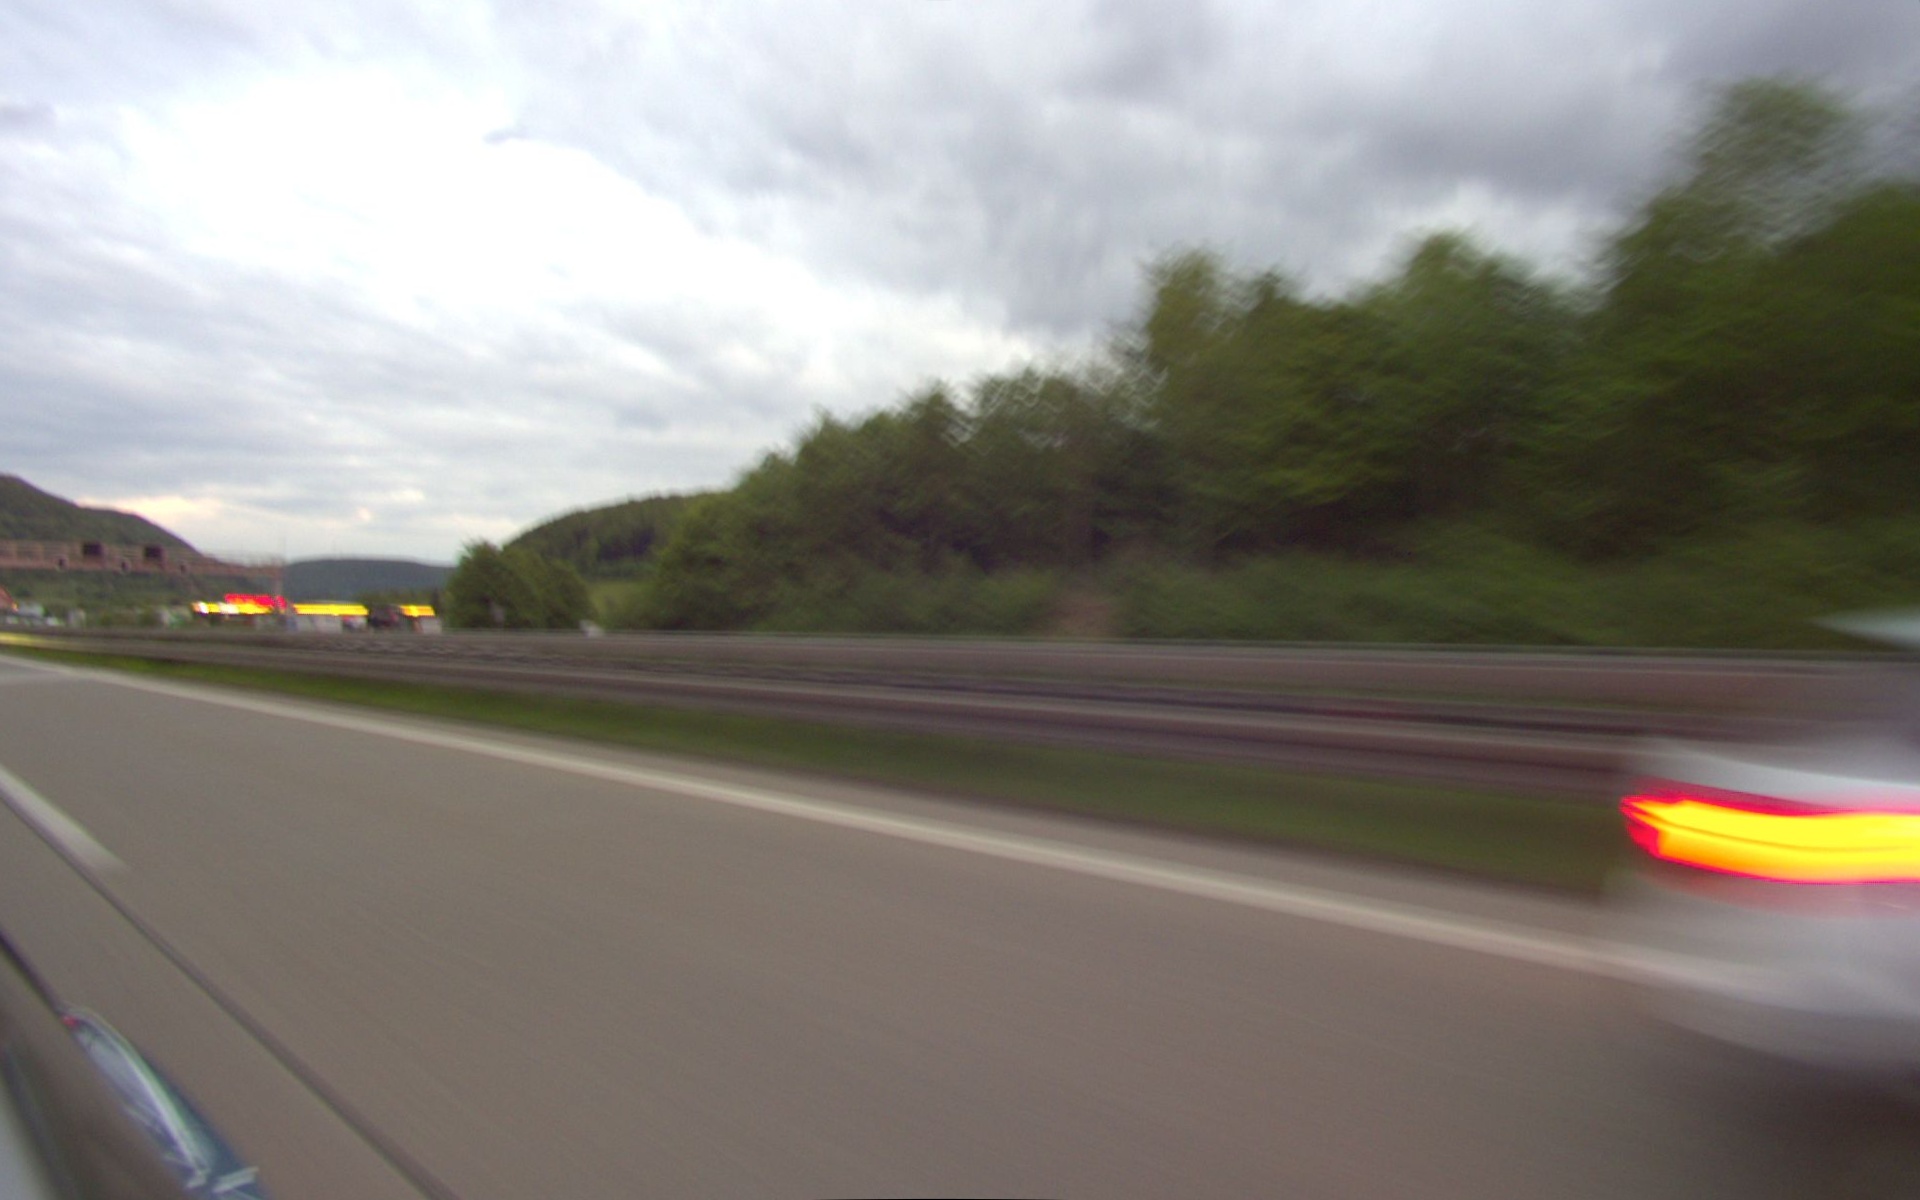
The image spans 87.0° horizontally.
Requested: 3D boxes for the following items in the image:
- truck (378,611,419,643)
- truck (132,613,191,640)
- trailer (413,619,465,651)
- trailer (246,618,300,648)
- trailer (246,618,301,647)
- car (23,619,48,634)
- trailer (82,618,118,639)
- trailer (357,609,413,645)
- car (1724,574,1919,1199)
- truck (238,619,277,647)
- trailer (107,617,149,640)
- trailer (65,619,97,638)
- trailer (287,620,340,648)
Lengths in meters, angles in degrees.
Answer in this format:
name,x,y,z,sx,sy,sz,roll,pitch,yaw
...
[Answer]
name,x,y,z,sx,sy,sz,roll,pitch,yaw
truck,-66.872,3.176,120.599,2.962,3.707,7.702,0,-1,-19
truck,-107.669,3.590,136.415,13.765,3.451,2.847,-2,-2,37
trailer,-72.382,4.849,140.860,3.235,4.137,14.484,1,-2,-14
trailer,-103.989,4.983,153.004,15.940,4.292,2.986,-2,-2,42
trailer,-103.937,4.908,153.066,15.940,4.292,2.986,-2,-2,42
car,-103.094,2.987,112.803,4.645,1.598,1.710,-2,-2,43
trailer,-144.232,4.764,169.562,13.566,3.451,2.843,-2,-2,42
trailer,-64.658,3.013,114.082,3.018,3.707,13.384,0,-1,-19
car,3.977,0.656,1.002,5.034,1.512,1.771,-2,-1,41
truck,-110.000,5.157,158.386,8.861,4.292,2.986,-2,-2,42
trailer,-125.638,4.327,152.756,13.845,3.451,2.843,-2,-2,42
trailer,-158.709,5.174,182.693,13.222,3.451,2.842,-2,-2,43
trailer,-89.411,4.726,139.835,12.711,3.707,2.843,-2,-2,42
